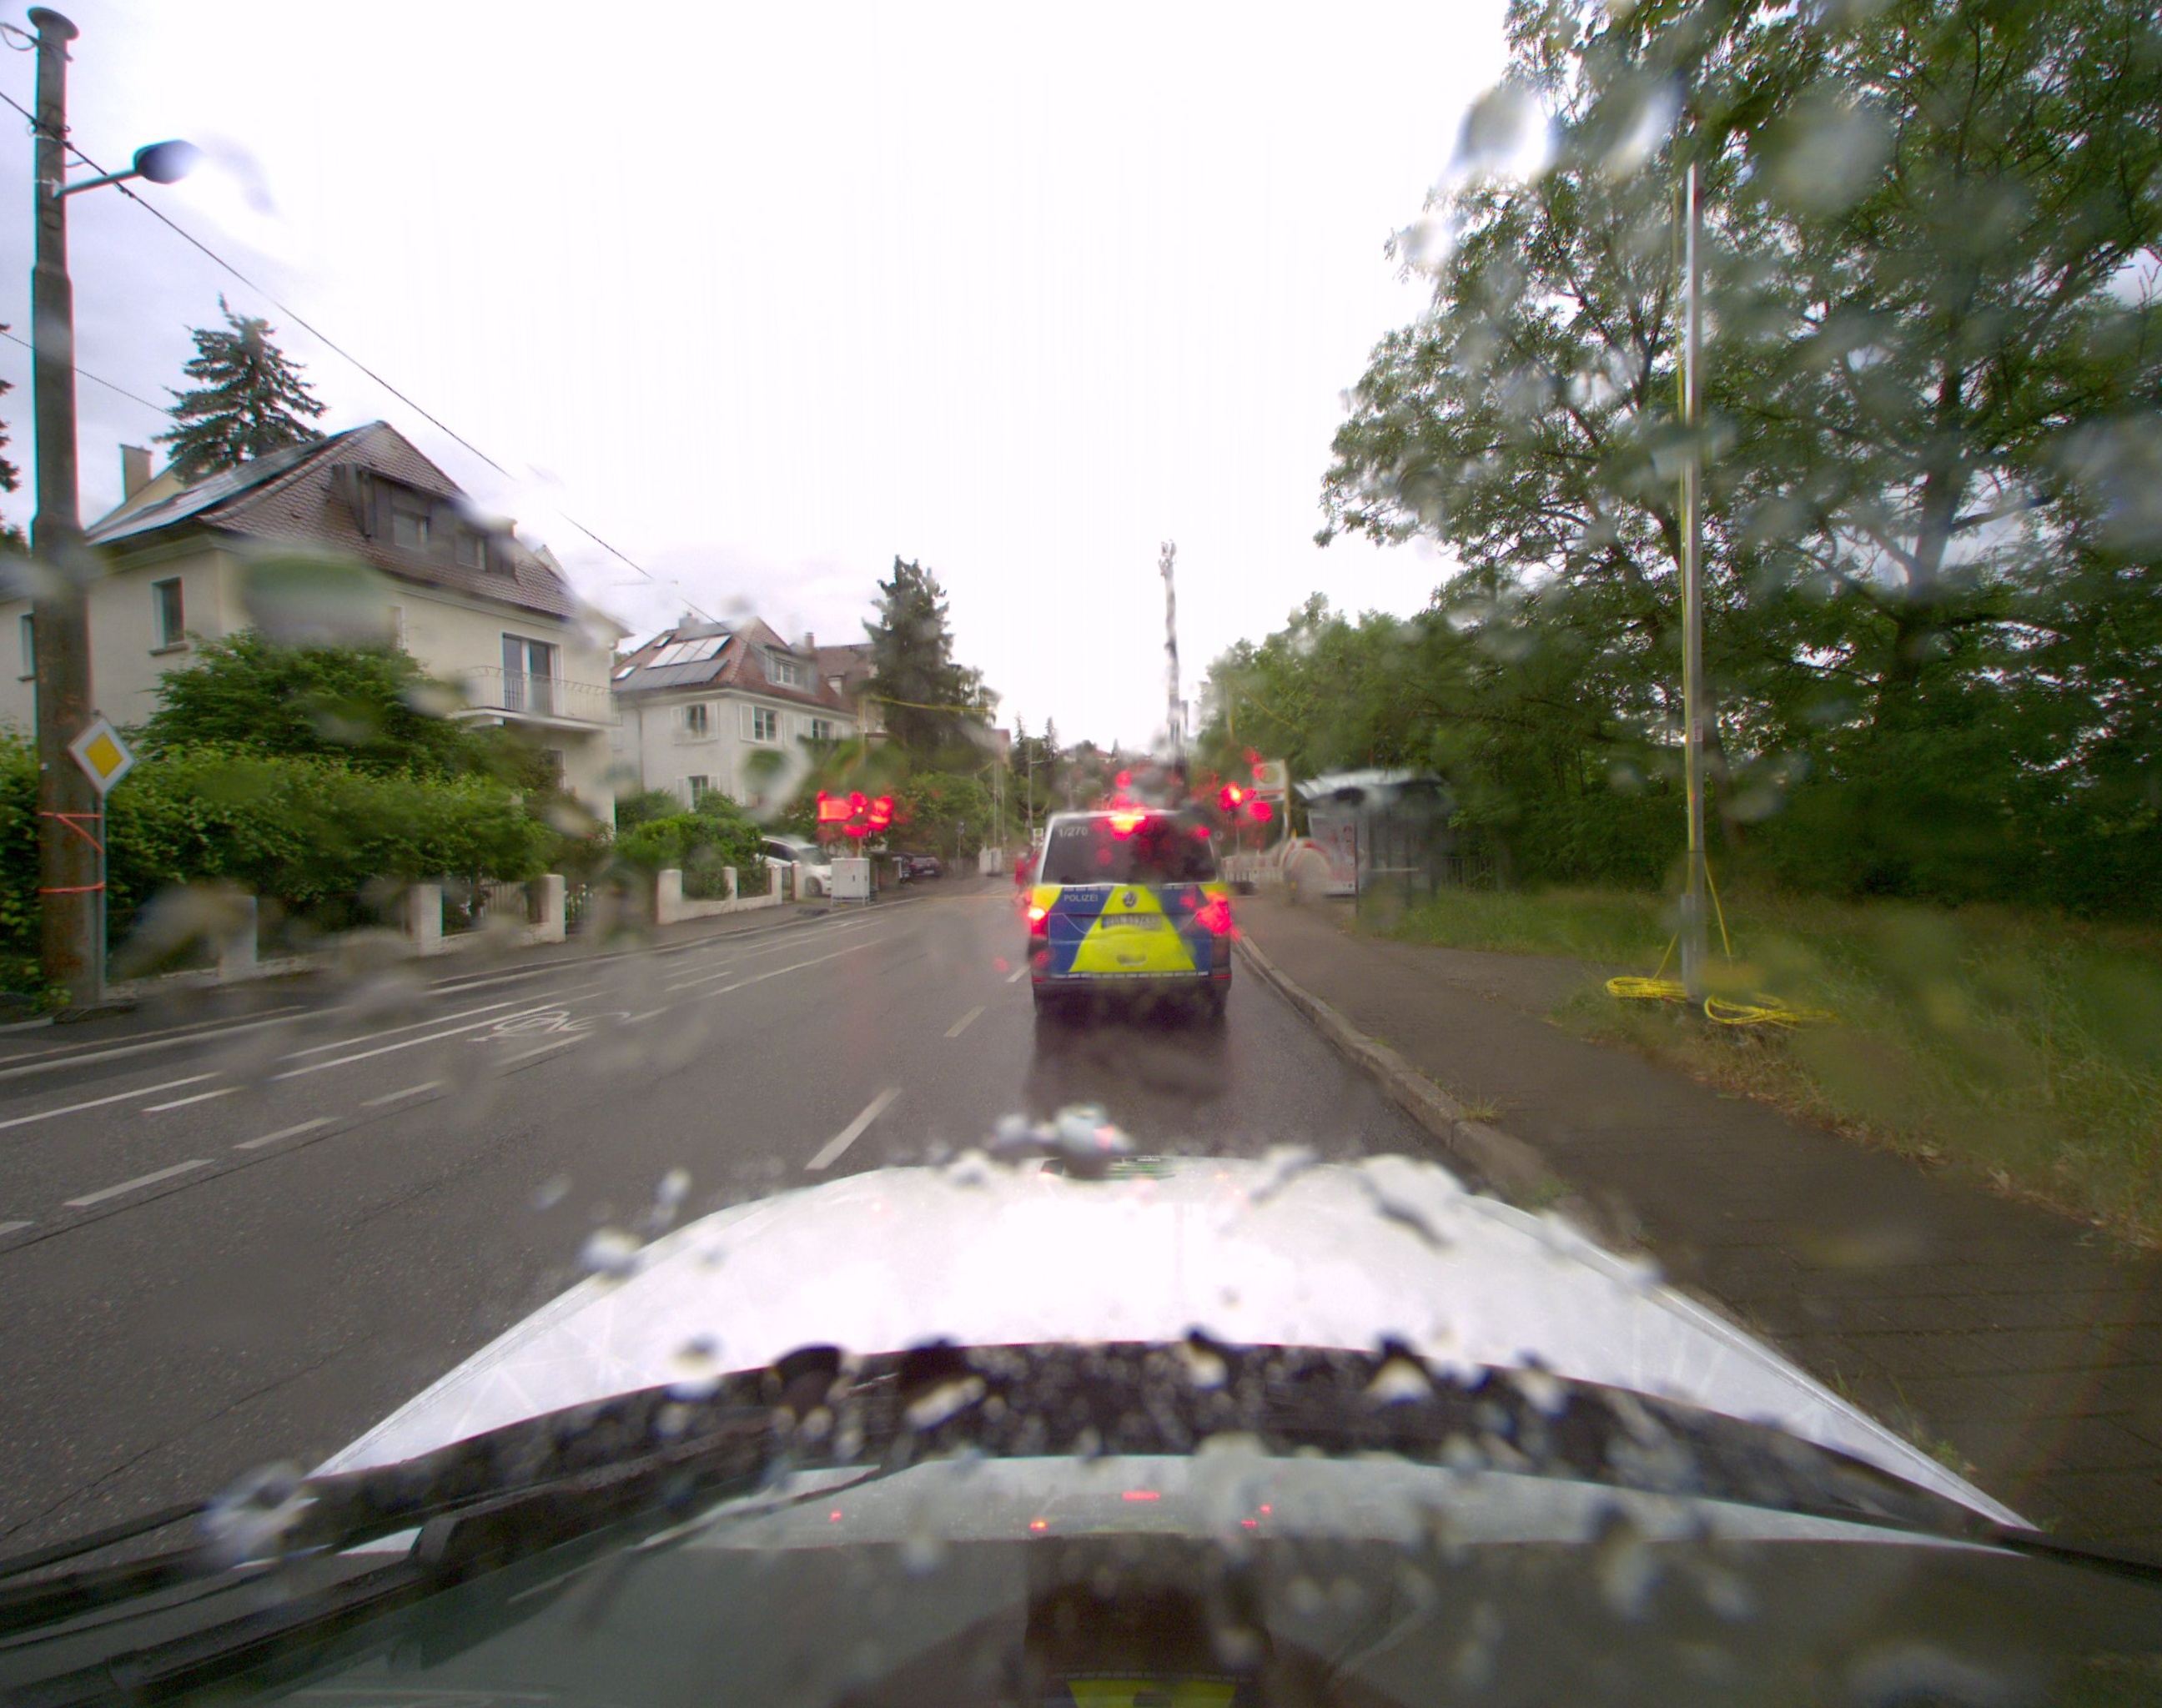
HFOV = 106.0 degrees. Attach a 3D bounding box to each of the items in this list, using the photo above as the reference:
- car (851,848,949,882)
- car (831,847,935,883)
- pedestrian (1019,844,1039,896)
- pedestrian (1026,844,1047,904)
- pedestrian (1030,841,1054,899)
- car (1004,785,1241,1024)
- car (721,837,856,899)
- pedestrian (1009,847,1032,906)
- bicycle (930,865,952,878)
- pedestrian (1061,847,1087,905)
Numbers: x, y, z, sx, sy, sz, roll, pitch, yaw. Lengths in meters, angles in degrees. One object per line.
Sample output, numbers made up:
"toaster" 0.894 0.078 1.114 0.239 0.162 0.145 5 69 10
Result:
"car" -8.287 0.523 37.463 3.960 1.486 1.765 0 -2 12
"car" -8.541 0.499 35.319 3.960 1.486 1.765 0 -2 12
"pedestrian" -1.510 0.467 23.718 0.523 1.507 0.429 0 -2 3
"pedestrian" -1.260 0.572 23.002 0.546 1.668 0.414 0 -2 3
"pedestrian" -1.176 0.480 24.558 0.623 1.715 0.593 0 -2 4
"car" 0.518 0.419 9.112 1.984 2.013 4.407 -1 0 4
"car" -9.985 0.463 27.901 3.959 2.013 1.837 -1 0 13
"pedestrian" -1.639 0.615 22.162 0.560 1.582 0.468 0 -2 3
"bicycle" -6.960 0.868 40.436 1.046 0.662 0.321 0 -2 12
"pedestrian" -0.187 0.580 21.742 0.623 1.522 0.593 0 -2 4
